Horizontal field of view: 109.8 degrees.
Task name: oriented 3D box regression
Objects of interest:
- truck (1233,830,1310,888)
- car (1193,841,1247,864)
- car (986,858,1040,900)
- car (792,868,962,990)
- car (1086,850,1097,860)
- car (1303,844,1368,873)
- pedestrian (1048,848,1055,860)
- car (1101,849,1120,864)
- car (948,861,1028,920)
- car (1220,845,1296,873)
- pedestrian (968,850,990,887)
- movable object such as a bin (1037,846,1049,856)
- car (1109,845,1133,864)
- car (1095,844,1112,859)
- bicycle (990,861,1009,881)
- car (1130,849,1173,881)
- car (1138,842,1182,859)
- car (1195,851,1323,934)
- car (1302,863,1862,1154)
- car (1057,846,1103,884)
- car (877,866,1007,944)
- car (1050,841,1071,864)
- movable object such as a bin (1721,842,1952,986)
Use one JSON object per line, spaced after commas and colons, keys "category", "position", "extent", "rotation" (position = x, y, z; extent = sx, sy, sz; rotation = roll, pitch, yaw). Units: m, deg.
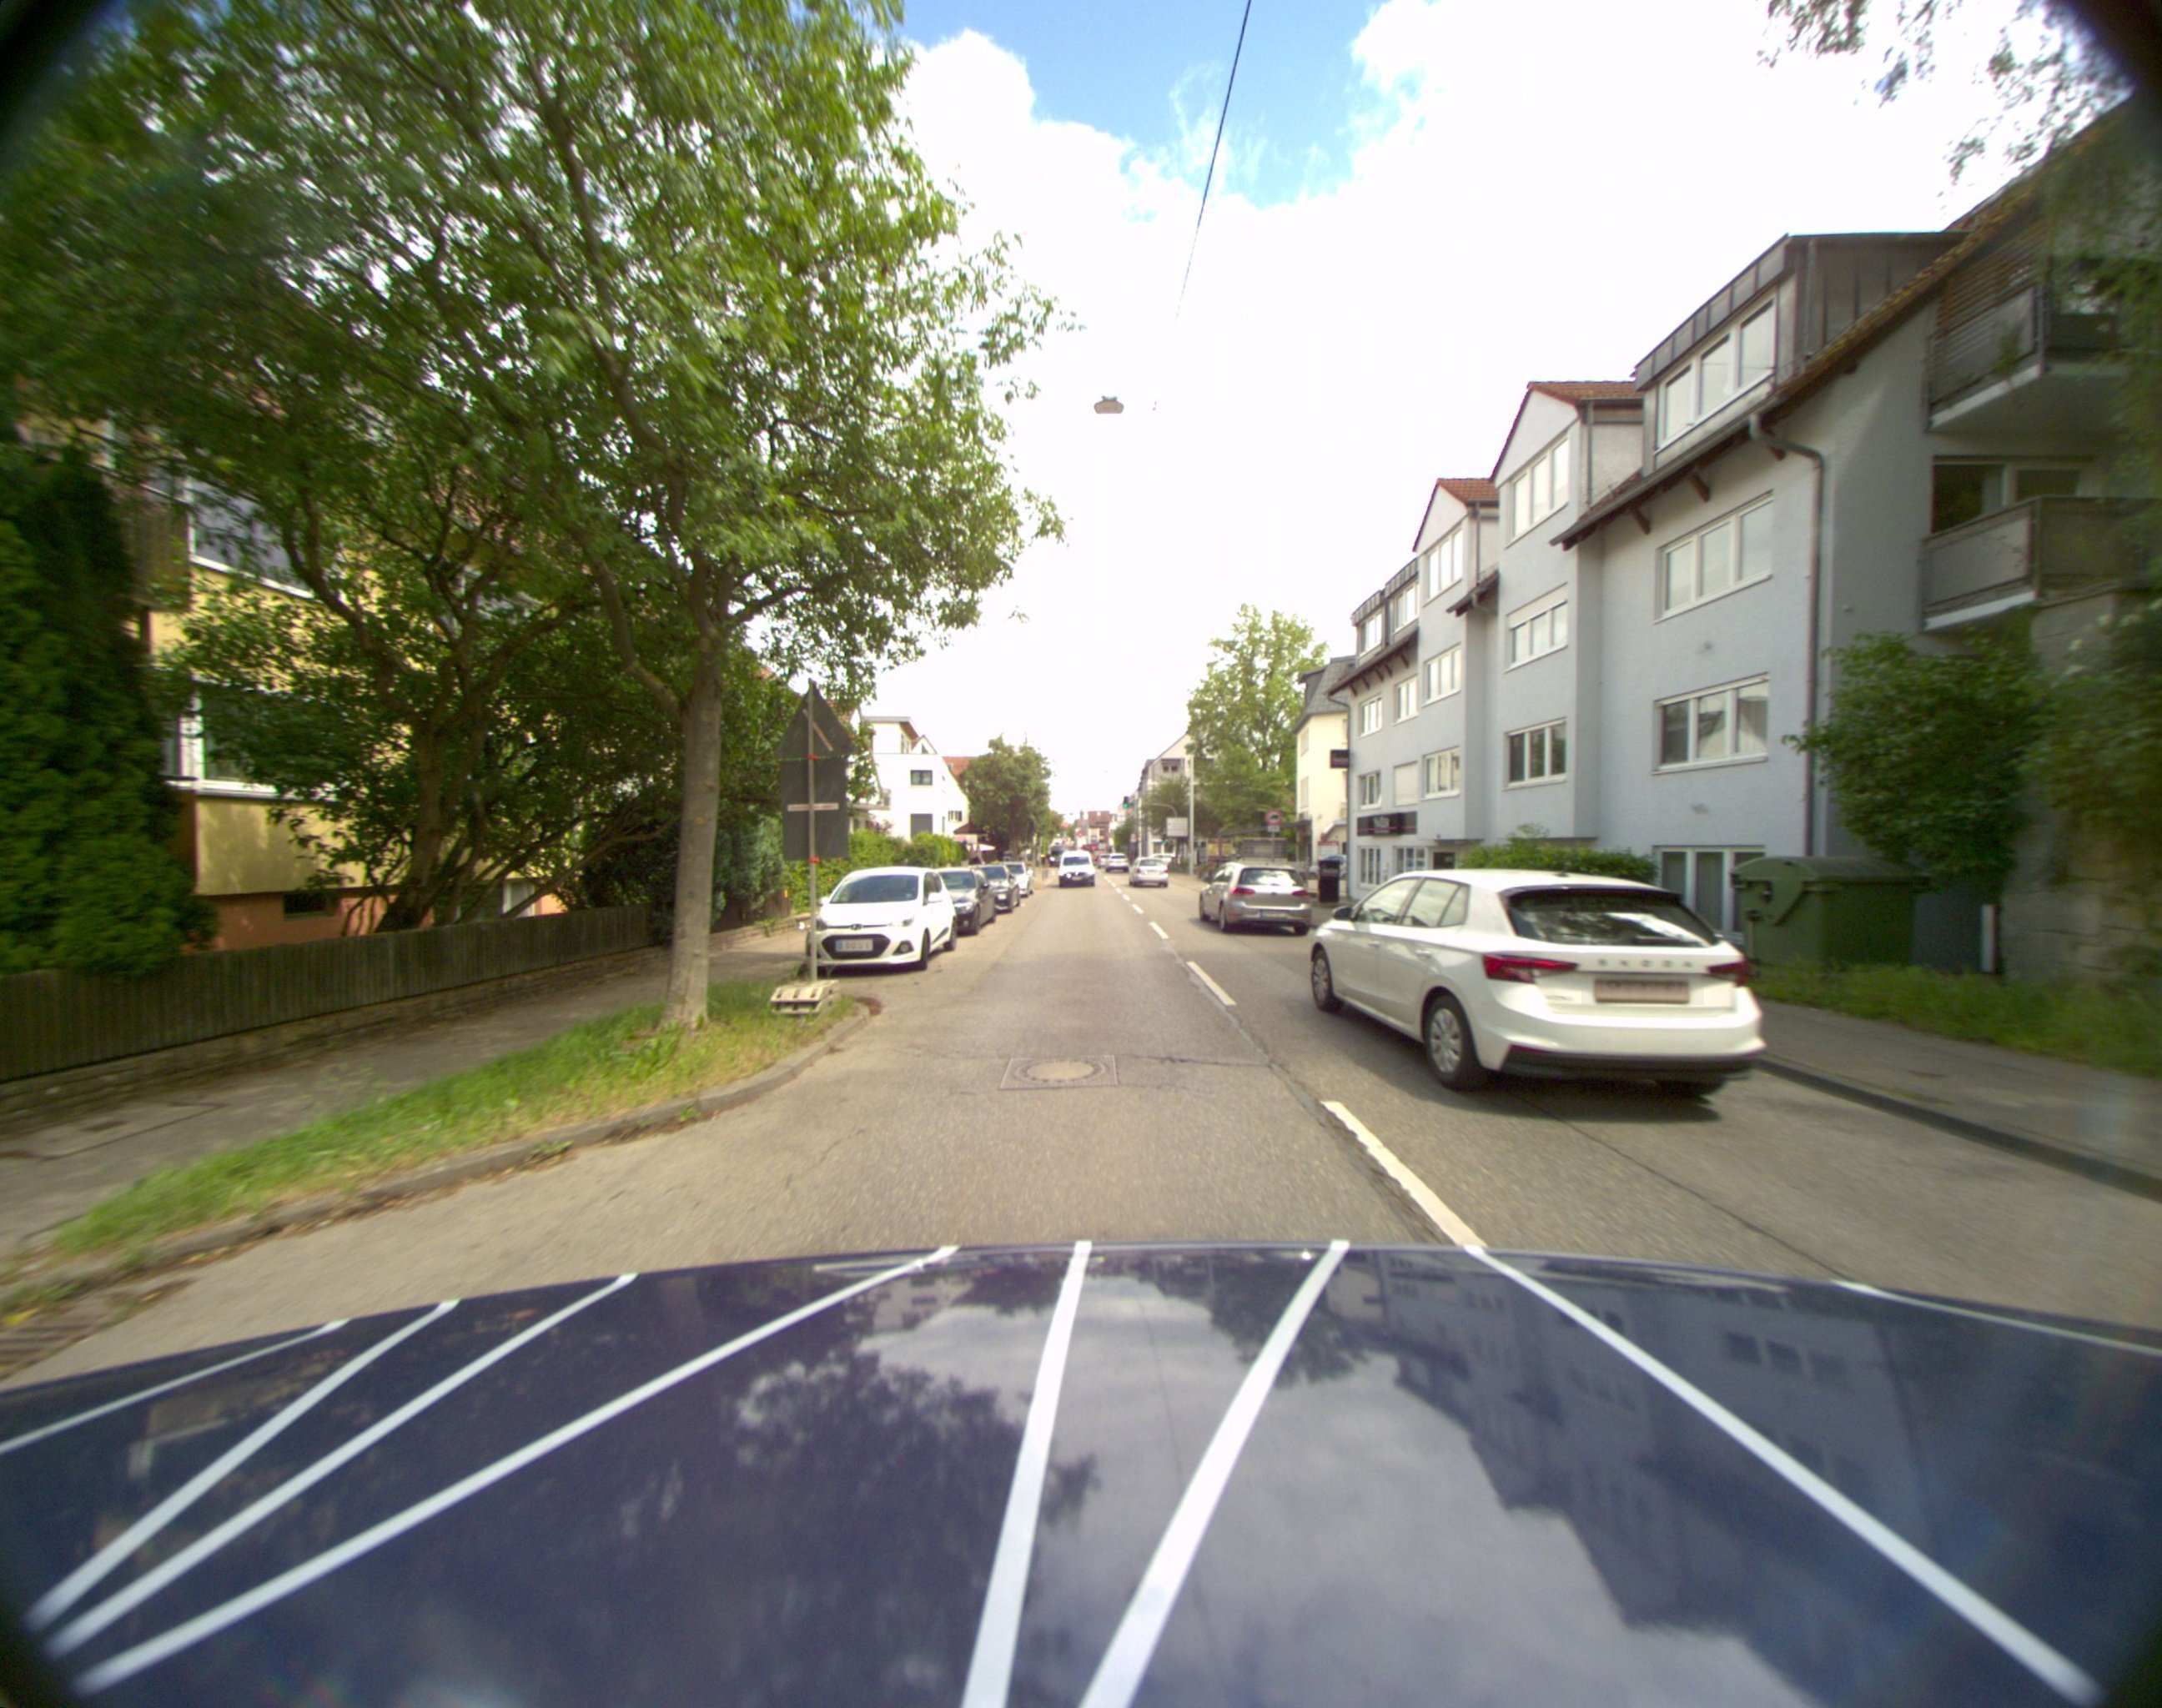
{"category": "truck", "position": [8.530, 0.129, 34.623], "extent": [2.229, 2.366, 6.325], "rotation": [-1, 1, 3]}
{"category": "car", "position": [13.240, -0.170, 72.463], "extent": [4.633, 1.997, 2.094], "rotation": [-1, 1, -3]}
{"category": "car", "position": [-2.755, 0.987, 31.728], "extent": [1.705, 1.472, 4.871], "rotation": [-2, 1, 1]}
{"category": "car", "position": [-3.005, 1.033, 11.978], "extent": [1.626, 1.499, 3.778], "rotation": [-1, 1, 0]}
{"category": "car", "position": [1.712, 0.200, 124.127], "extent": [1.732, 1.529, 3.999], "rotation": [-1, 0, -1]}
{"category": "car", "position": [13.335, 0.212, 39.844], "extent": [2.839, 1.462, 1.569], "rotation": [1, 3, 39]}
{"category": "pedestrian", "position": [-3.932, 0.000, 99.854], "extent": [0.786, 1.634, 0.798], "rotation": [-1, 1, 5]}
{"category": "car", "position": [3.001, 0.256, 77.818], "extent": [1.621, 1.478, 3.811], "rotation": [-1, 1, -2]}
{"category": "car", "position": [-2.724, 1.037, 23.284], "extent": [1.738, 1.420, 4.882], "rotation": [-4, 0, 0]}
{"category": "car", "position": [9.762, 0.250, 41.970], "extent": [3.703, 1.417, 1.804], "rotation": [-1, 1, -3]}
{"category": "pedestrian", "position": [-4.918, 0.696, 36.824], "extent": [0.882, 1.703, 0.842], "rotation": [-1, 2, 2]}
{"category": "movable object such as a bin", "position": [-4.829, -0.402, 96.528], "extent": [1.188, 1.258, 1.206], "rotation": [-2, 1, -32]}
{"category": "car", "position": [3.388, 0.026, 65.029], "extent": [1.810, 1.562, 4.158], "rotation": [1, 1, 0]}
{"category": "car", "position": [2.942, -0.330, 100.187], "extent": [1.882, 1.902, 4.750], "rotation": [-1, 1, -1]}
{"category": "bicycle", "position": [-5.089, 1.031, 47.446], "extent": [0.722, 1.144, 2.213], "rotation": [-1, 2, 6]}
{"category": "car", "position": [3.493, 0.516, 38.354], "extent": [1.733, 1.494, 4.375], "rotation": [1, 1, 0]}
{"category": "car", "position": [7.840, -0.344, 75.778], "extent": [4.222, 1.505, 1.822], "rotation": [-1, 0, 0]}
{"category": "car", "position": [3.712, 0.733, 16.587], "extent": [1.714, 1.447, 4.286], "rotation": [2, 1, 0]}
{"category": "car", "position": [3.199, 0.840, 5.969], "extent": [1.764, 1.431, 3.970], "rotation": [1, 0, 0]}
{"category": "car", "position": [0.021, 0.526, 39.680], "extent": [1.870, 1.805, 5.008], "rotation": [-1, 1, 5]}
{"category": "car", "position": [-2.979, 1.052, 17.379], "extent": [1.998, 1.415, 4.588], "rotation": [-1, 1, 2]}
{"category": "car", "position": [-2.485, -0.225, 92.581], "extent": [2.153, 2.755, 6.248], "rotation": [-1, 1, 1]}
{"category": "movable object such as a bin", "position": [8.174, 0.592, 8.304], "extent": [1.334, 1.419, 1.213], "rotation": [-1, 2, -6]}
